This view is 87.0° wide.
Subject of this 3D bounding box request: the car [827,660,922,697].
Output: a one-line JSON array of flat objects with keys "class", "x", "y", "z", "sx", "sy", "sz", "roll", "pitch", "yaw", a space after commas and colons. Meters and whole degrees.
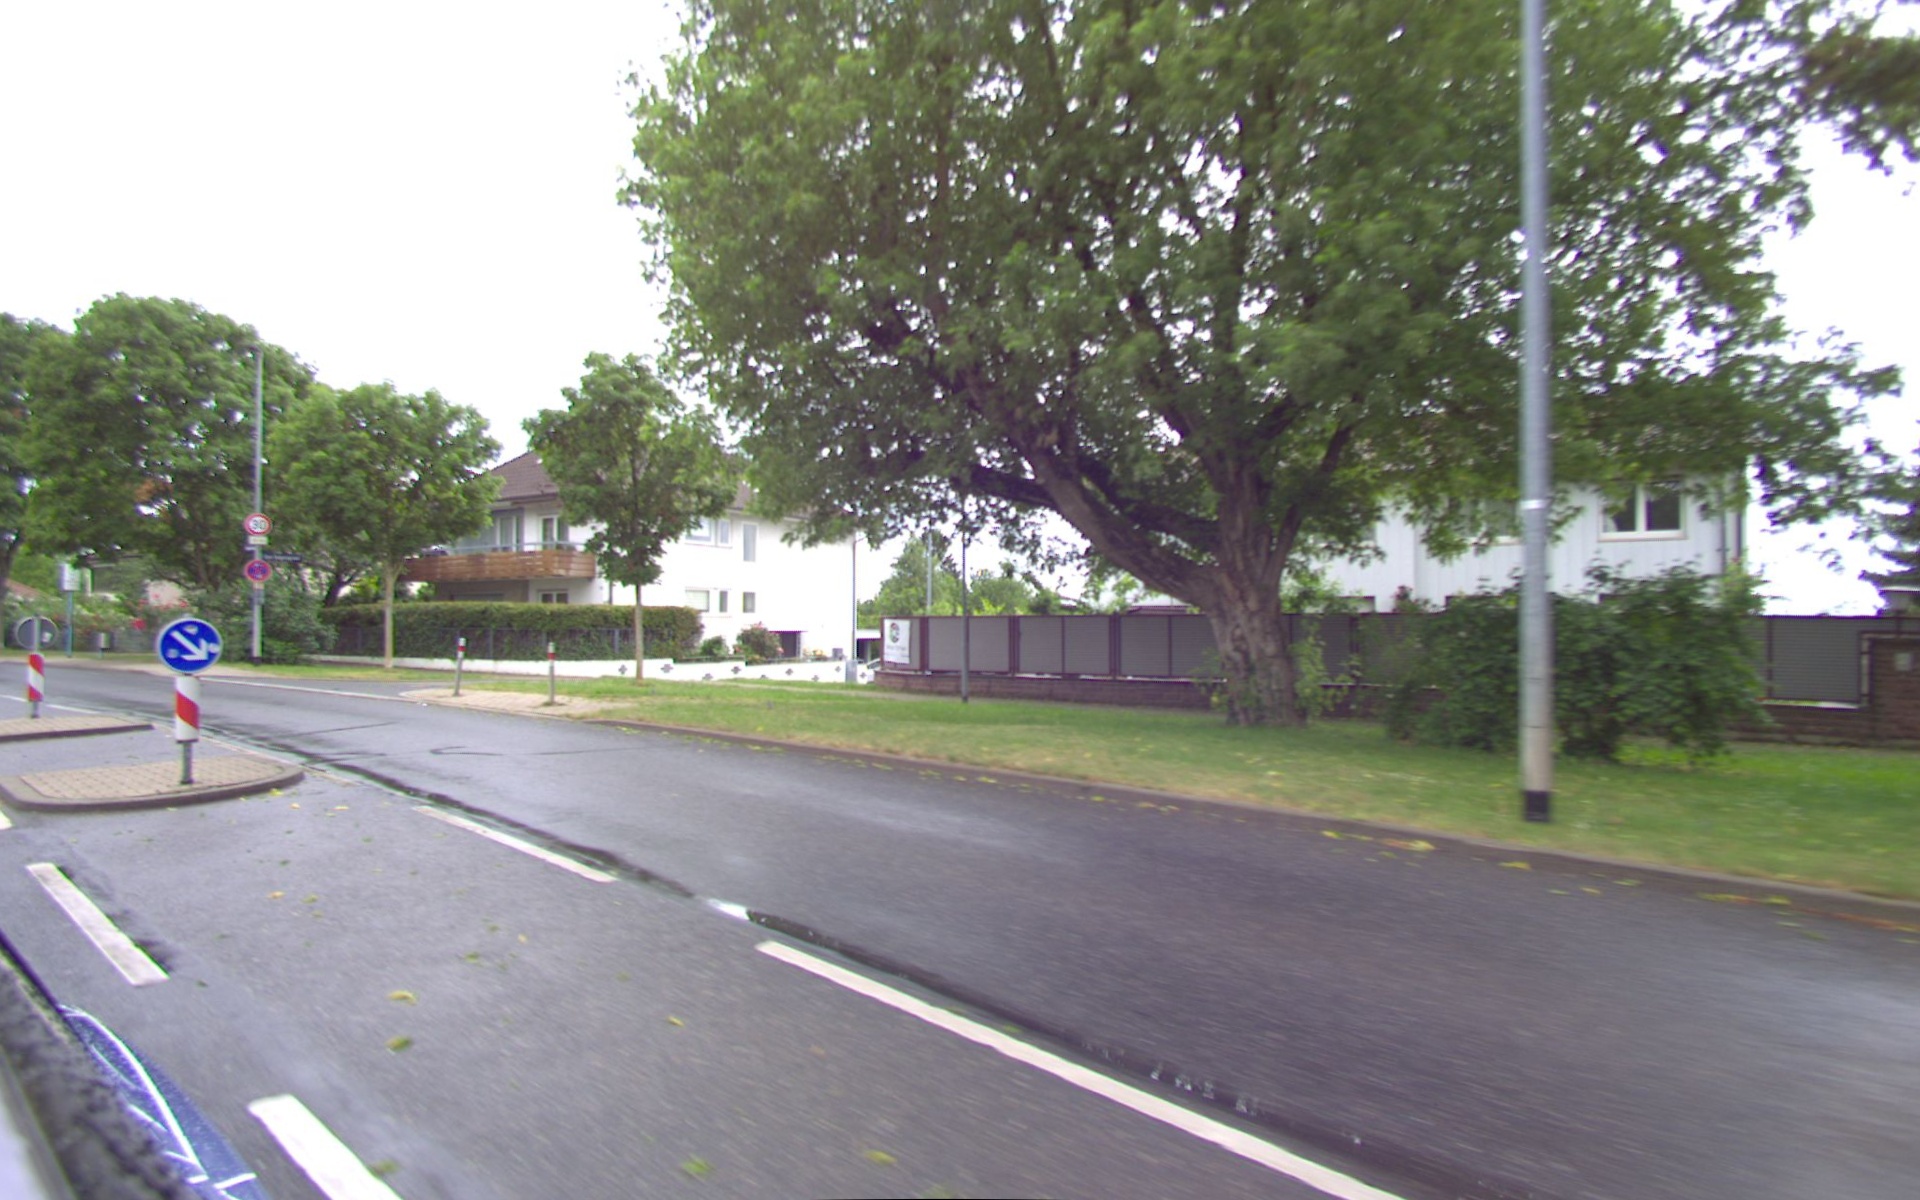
[{"class": "car", "x": -3.941, "y": 3.572, "z": 46.545, "sx": 4.036, "sy": 1.519, "sz": 1.978, "roll": -1, "pitch": -2, "yaw": 32}]
